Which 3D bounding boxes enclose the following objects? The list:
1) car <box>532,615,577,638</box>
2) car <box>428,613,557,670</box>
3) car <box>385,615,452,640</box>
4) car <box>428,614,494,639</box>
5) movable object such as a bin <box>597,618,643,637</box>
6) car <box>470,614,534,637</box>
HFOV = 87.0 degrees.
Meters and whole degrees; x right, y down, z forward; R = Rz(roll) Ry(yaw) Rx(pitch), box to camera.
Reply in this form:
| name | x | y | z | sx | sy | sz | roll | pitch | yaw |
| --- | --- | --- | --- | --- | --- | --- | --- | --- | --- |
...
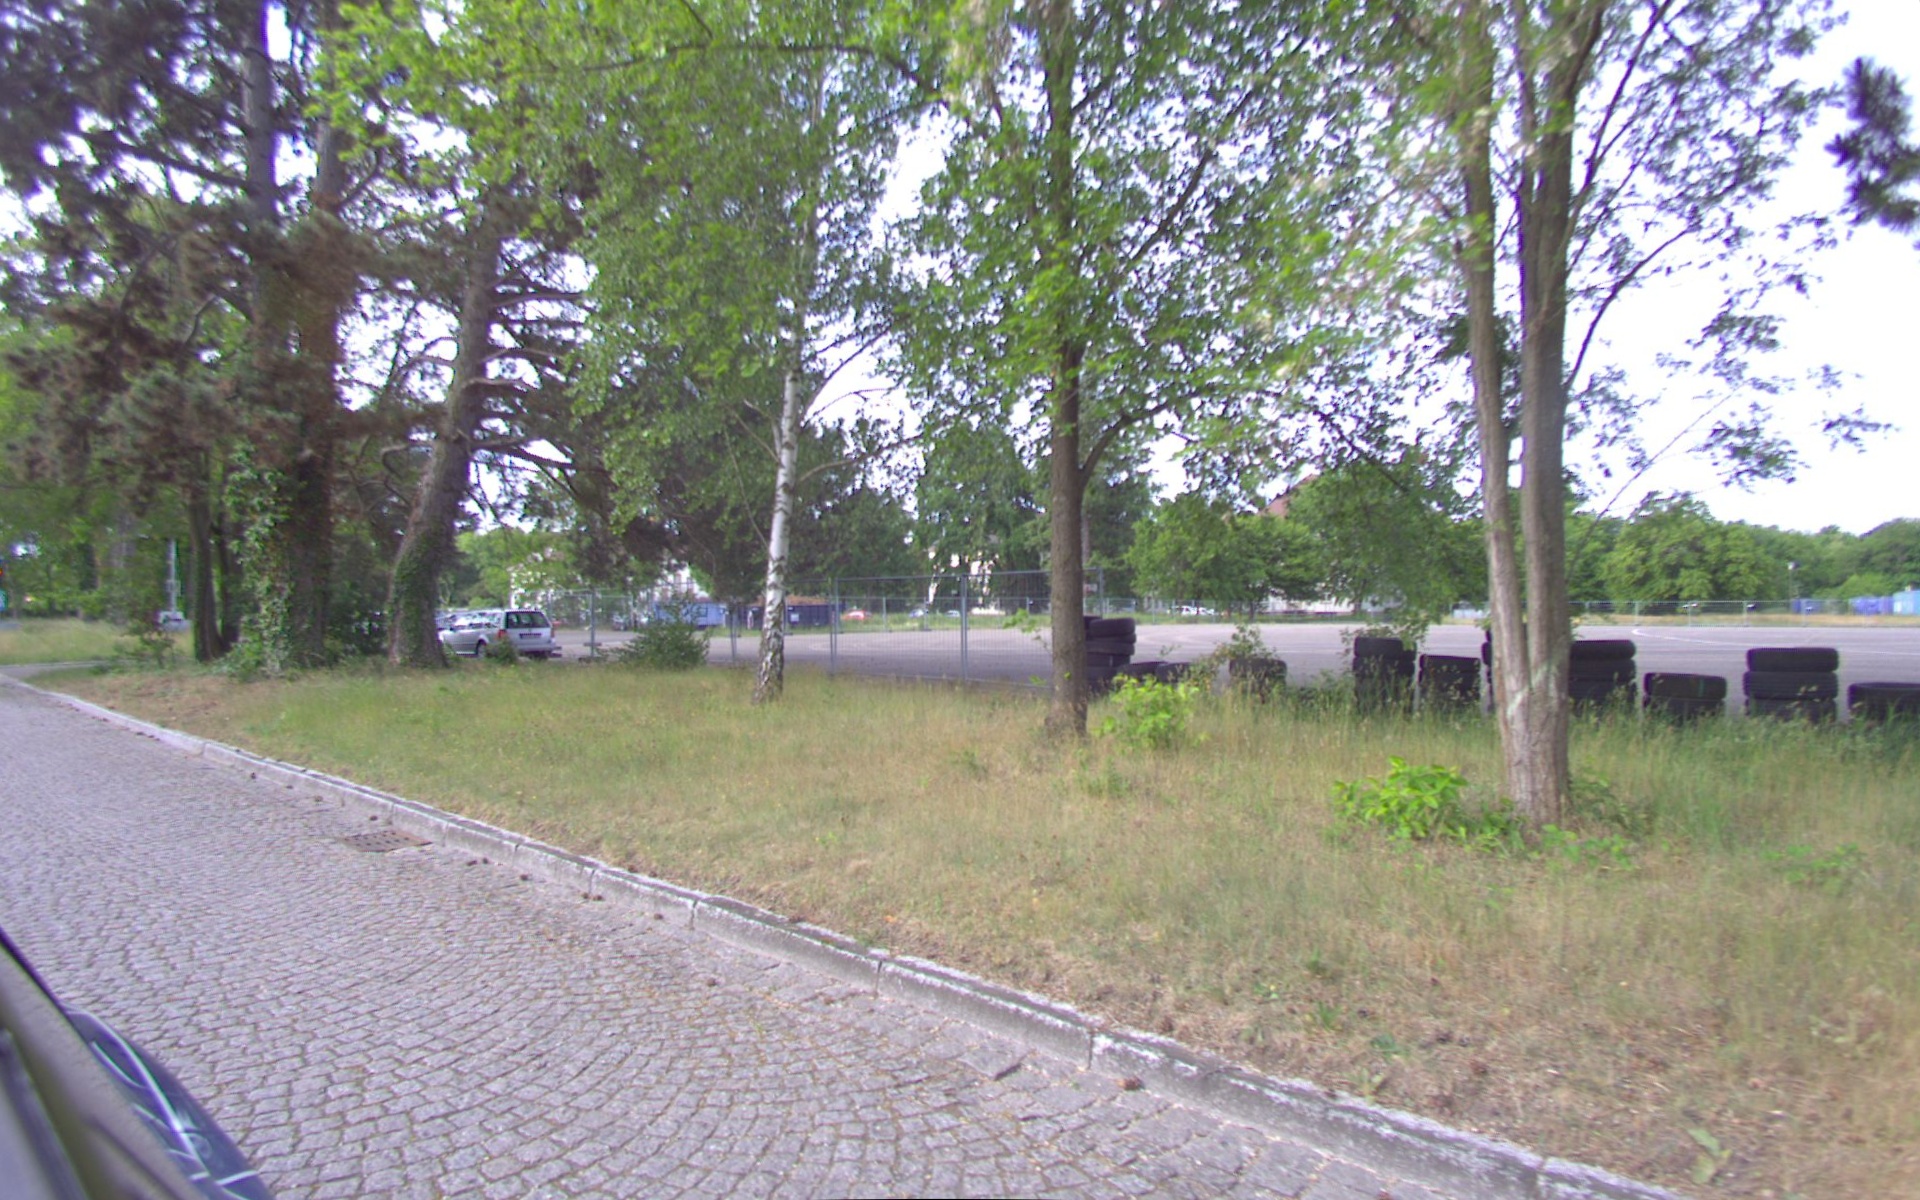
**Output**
| name | x | y | z | sx | sy | sz | roll | pitch | yaw |
| --- | --- | --- | --- | --- | --- | --- | --- | --- | --- |
| car | -31.765 | 2.056 | 79.249 | 3.797 | 1.696 | 1.592 | -1 | -1 | 36 |
| car | -12.451 | 1.064 | 26.871 | 3.719 | 1.421 | 1.649 | -1 | -1 | 39 |
| car | -32.891 | 1.653 | 61.431 | 4.447 | 1.460 | 1.975 | -1 | -1 | 38 |
| car | -31.303 | 1.652 | 63.430 | 4.447 | 1.460 | 1.975 | -1 | -1 | 38 |
| movable object such as a bin | -19.583 | 1.590 | 58.242 | 2.713 | 1.079 | 1.046 | -1 | -1 | 33 |
| car | -29.846 | 1.652 | 65.938 | 4.447 | 1.460 | 1.975 | -1 | -1 | 38 |
